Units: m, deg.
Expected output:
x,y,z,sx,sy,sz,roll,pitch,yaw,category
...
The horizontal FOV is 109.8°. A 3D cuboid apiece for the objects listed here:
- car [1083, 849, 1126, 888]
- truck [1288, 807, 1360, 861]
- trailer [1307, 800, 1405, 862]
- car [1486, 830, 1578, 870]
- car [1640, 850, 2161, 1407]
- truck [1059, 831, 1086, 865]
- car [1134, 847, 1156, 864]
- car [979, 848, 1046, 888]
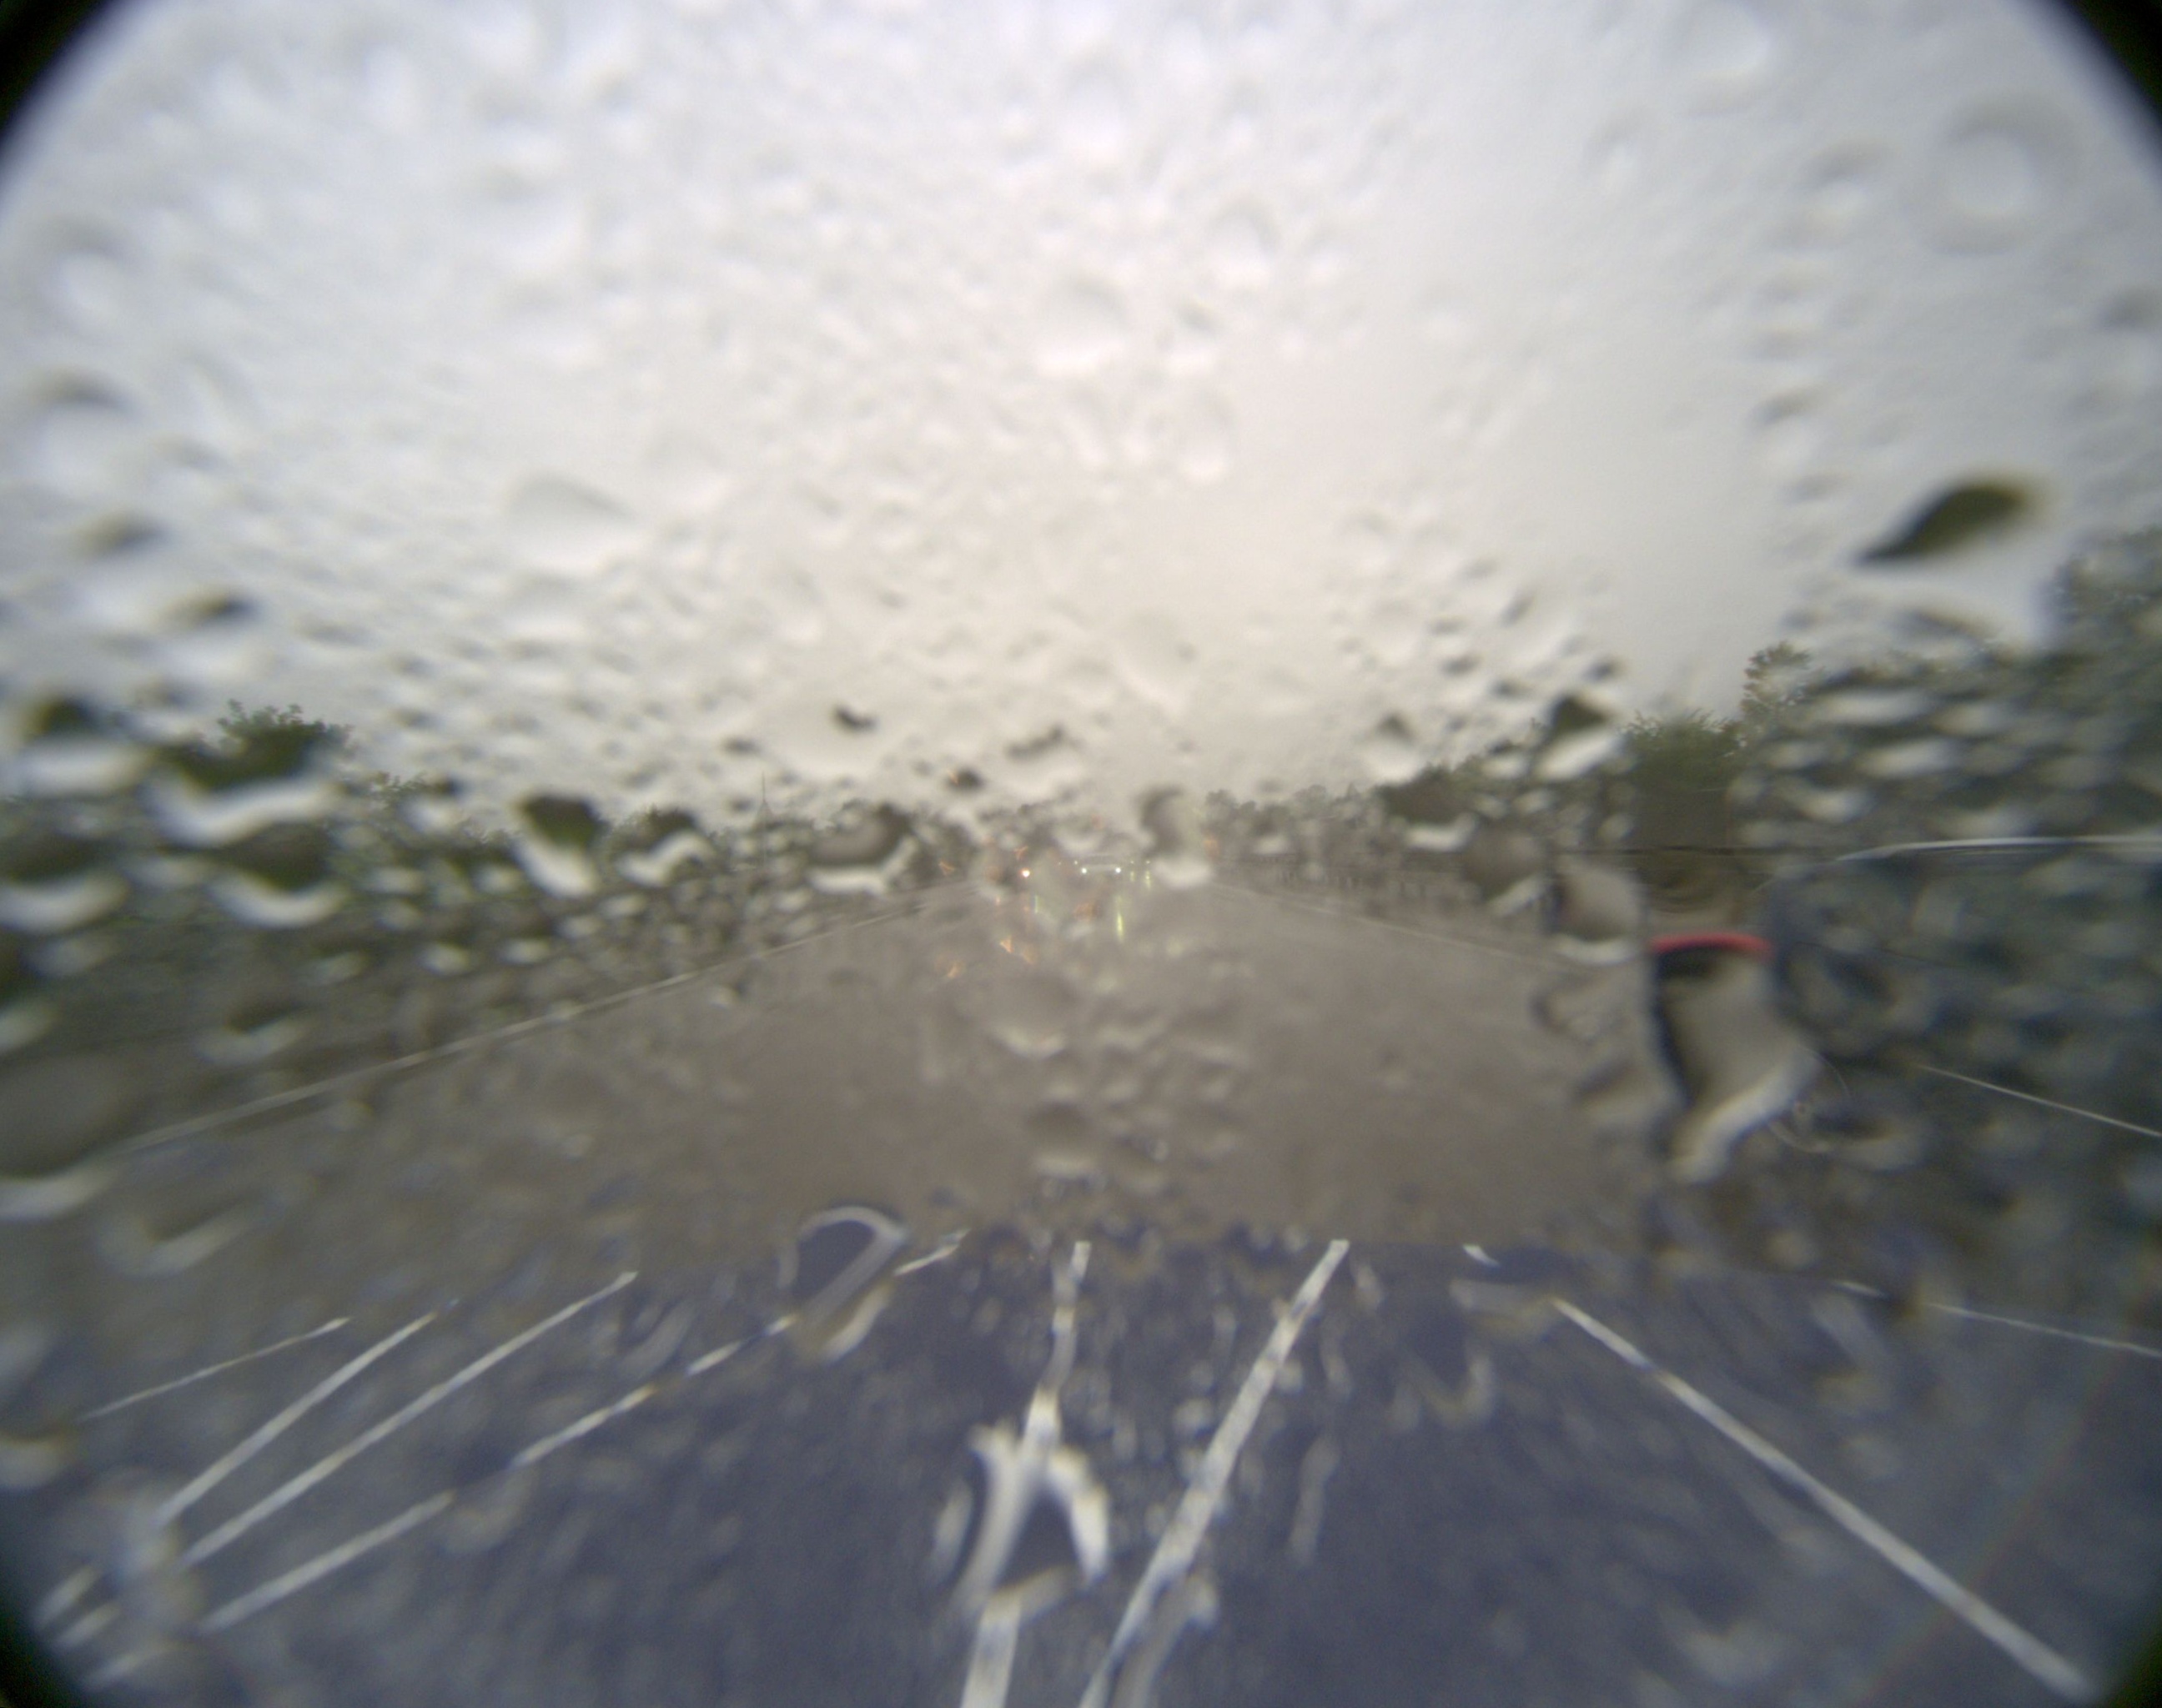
x,y,z,sx,sy,sz,roll,pitch,yaw,category
1.076,0.604,33.950,1.751,1.545,4.090,-2,1,3,car
23.026,-1.803,72.689,3.845,4.612,9.492,-2,0,1,truck
22.958,-1.803,64.577,3.879,4.668,12.242,-2,0,1,trailer
21.170,-0.194,35.878,1.998,1.724,4.000,-2,0,1,car
3.997,0.762,1.456,2.059,1.477,5.157,-2,0,0,car
-1.063,-0.776,96.566,2.754,4.055,6.484,-1,0,4,truck
6.200,0.153,74.198,1.900,1.533,4.090,-2,0,2,car
-3.280,0.640,37.692,2.463,1.736,5.720,-2,0,3,car
